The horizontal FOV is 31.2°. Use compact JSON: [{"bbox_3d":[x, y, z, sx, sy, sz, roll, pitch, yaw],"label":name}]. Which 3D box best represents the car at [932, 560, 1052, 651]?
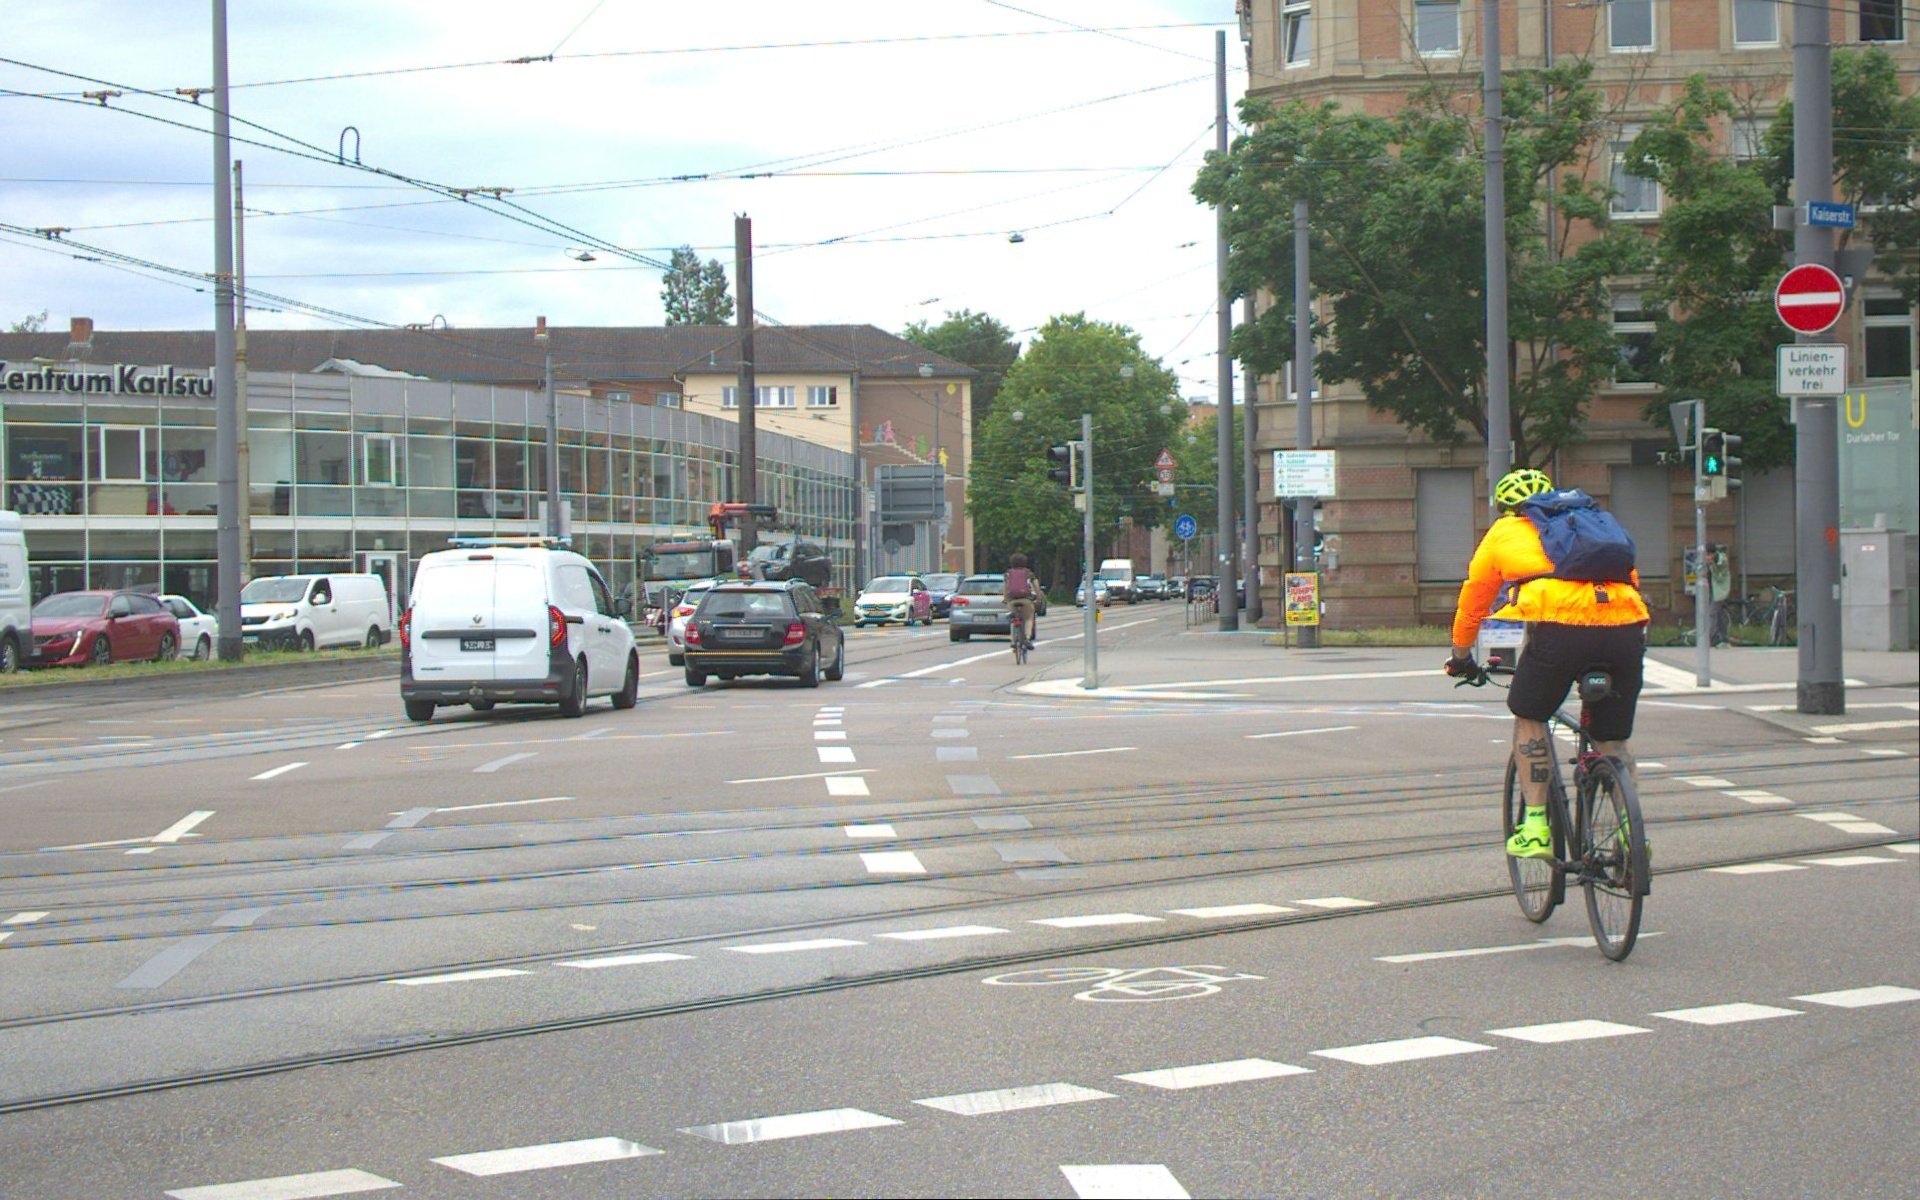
[{"bbox_3d":[0.764,0.124,78.569,1.994,2.007,3.998,0,0,12],"label":"car"}]

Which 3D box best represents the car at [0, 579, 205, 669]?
[{"bbox_3d":[-14.786,0.378,58.171,1.995,1.415,4.798,0,0,14],"label":"car"}]

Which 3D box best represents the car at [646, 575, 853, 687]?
[{"bbox_3d":[-2.792,0.390,46.587,1.994,1.415,3.999,-1,0,9],"label":"car"}]

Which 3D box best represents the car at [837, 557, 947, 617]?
[{"bbox_3d":[-2.104,-0.417,107.715,1.995,1.832,4.519,0,0,19],"label":"car"}]

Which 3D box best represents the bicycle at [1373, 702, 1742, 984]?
[{"bbox_3d":[2.096,0.828,12.350,0.556,0.845,2.074,-1,0,-12],"label":"bicycle"}]

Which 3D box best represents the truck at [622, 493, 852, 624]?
[{"bbox_3d":[-6.214,-1.130,97.798,2.797,3.537,9.213,0,0,22],"label":"truck"}]

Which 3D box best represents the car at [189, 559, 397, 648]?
[{"bbox_3d":[-14.347,0.051,74.312,2.158,1.850,5.443,0,0,16],"label":"car"}]

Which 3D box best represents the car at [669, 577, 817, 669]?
[{"bbox_3d":[-3.641,0.372,58.317,1.853,1.503,3.999,0,0,6],"label":"car"}]

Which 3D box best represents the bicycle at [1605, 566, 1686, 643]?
[{"bbox_3d":[12.330,0.081,61.767,0.958,1.349,3.117,0,0,20],"label":"bicycle"}]

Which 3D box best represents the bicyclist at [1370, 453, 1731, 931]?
[{"bbox_3d":[2.096,0.306,12.378,0.827,1.615,1.322,-1,0,-12],"label":"bicyclist"}]

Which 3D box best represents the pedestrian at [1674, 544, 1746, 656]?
[{"bbox_3d":[11.658,-0.007,53.451,0.909,1.722,0.603,-1,0,-12],"label":"pedestrian"}]

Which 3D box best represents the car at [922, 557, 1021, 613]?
[{"bbox_3d":[0.430,-0.516,115.877,1.995,1.832,4.519,0,0,19],"label":"car"}]

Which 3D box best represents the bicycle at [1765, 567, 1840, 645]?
[{"bbox_3d":[15.079,0.101,61.474,0.958,1.349,3.117,0,0,20],"label":"bicycle"}]

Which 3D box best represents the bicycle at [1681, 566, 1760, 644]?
[{"bbox_3d":[13.605,0.090,61.459,0.958,1.349,3.117,0,0,20],"label":"bicycle"}]

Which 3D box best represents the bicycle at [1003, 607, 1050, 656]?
[{"bbox_3d":[1.098,0.518,56.989,0.619,0.791,1.592,-1,0,-5],"label":"bicycle"}]

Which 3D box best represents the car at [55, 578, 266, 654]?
[{"bbox_3d":[-15.776,0.294,68.084,1.995,1.415,4.747,0,1,16],"label":"car"}]

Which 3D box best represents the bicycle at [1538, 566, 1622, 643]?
[{"bbox_3d":[11.203,0.073,62.057,0.958,1.349,3.117,0,0,20],"label":"bicycle"}]

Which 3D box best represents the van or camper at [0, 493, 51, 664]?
[{"bbox_3d":[-15.956,-0.339,51.486,2.416,2.602,6.050,0,0,7],"label":"van or camper"}]

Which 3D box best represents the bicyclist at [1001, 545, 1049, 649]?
[{"bbox_3d":[1.078,-0.056,56.967,0.687,1.702,0.798,-1,0,-5],"label":"bicyclist"}]

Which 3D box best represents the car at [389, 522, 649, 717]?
[{"bbox_3d":[-4.618,0.179,36.607,1.913,1.933,4.130,-1,0,5],"label":"car"}]
